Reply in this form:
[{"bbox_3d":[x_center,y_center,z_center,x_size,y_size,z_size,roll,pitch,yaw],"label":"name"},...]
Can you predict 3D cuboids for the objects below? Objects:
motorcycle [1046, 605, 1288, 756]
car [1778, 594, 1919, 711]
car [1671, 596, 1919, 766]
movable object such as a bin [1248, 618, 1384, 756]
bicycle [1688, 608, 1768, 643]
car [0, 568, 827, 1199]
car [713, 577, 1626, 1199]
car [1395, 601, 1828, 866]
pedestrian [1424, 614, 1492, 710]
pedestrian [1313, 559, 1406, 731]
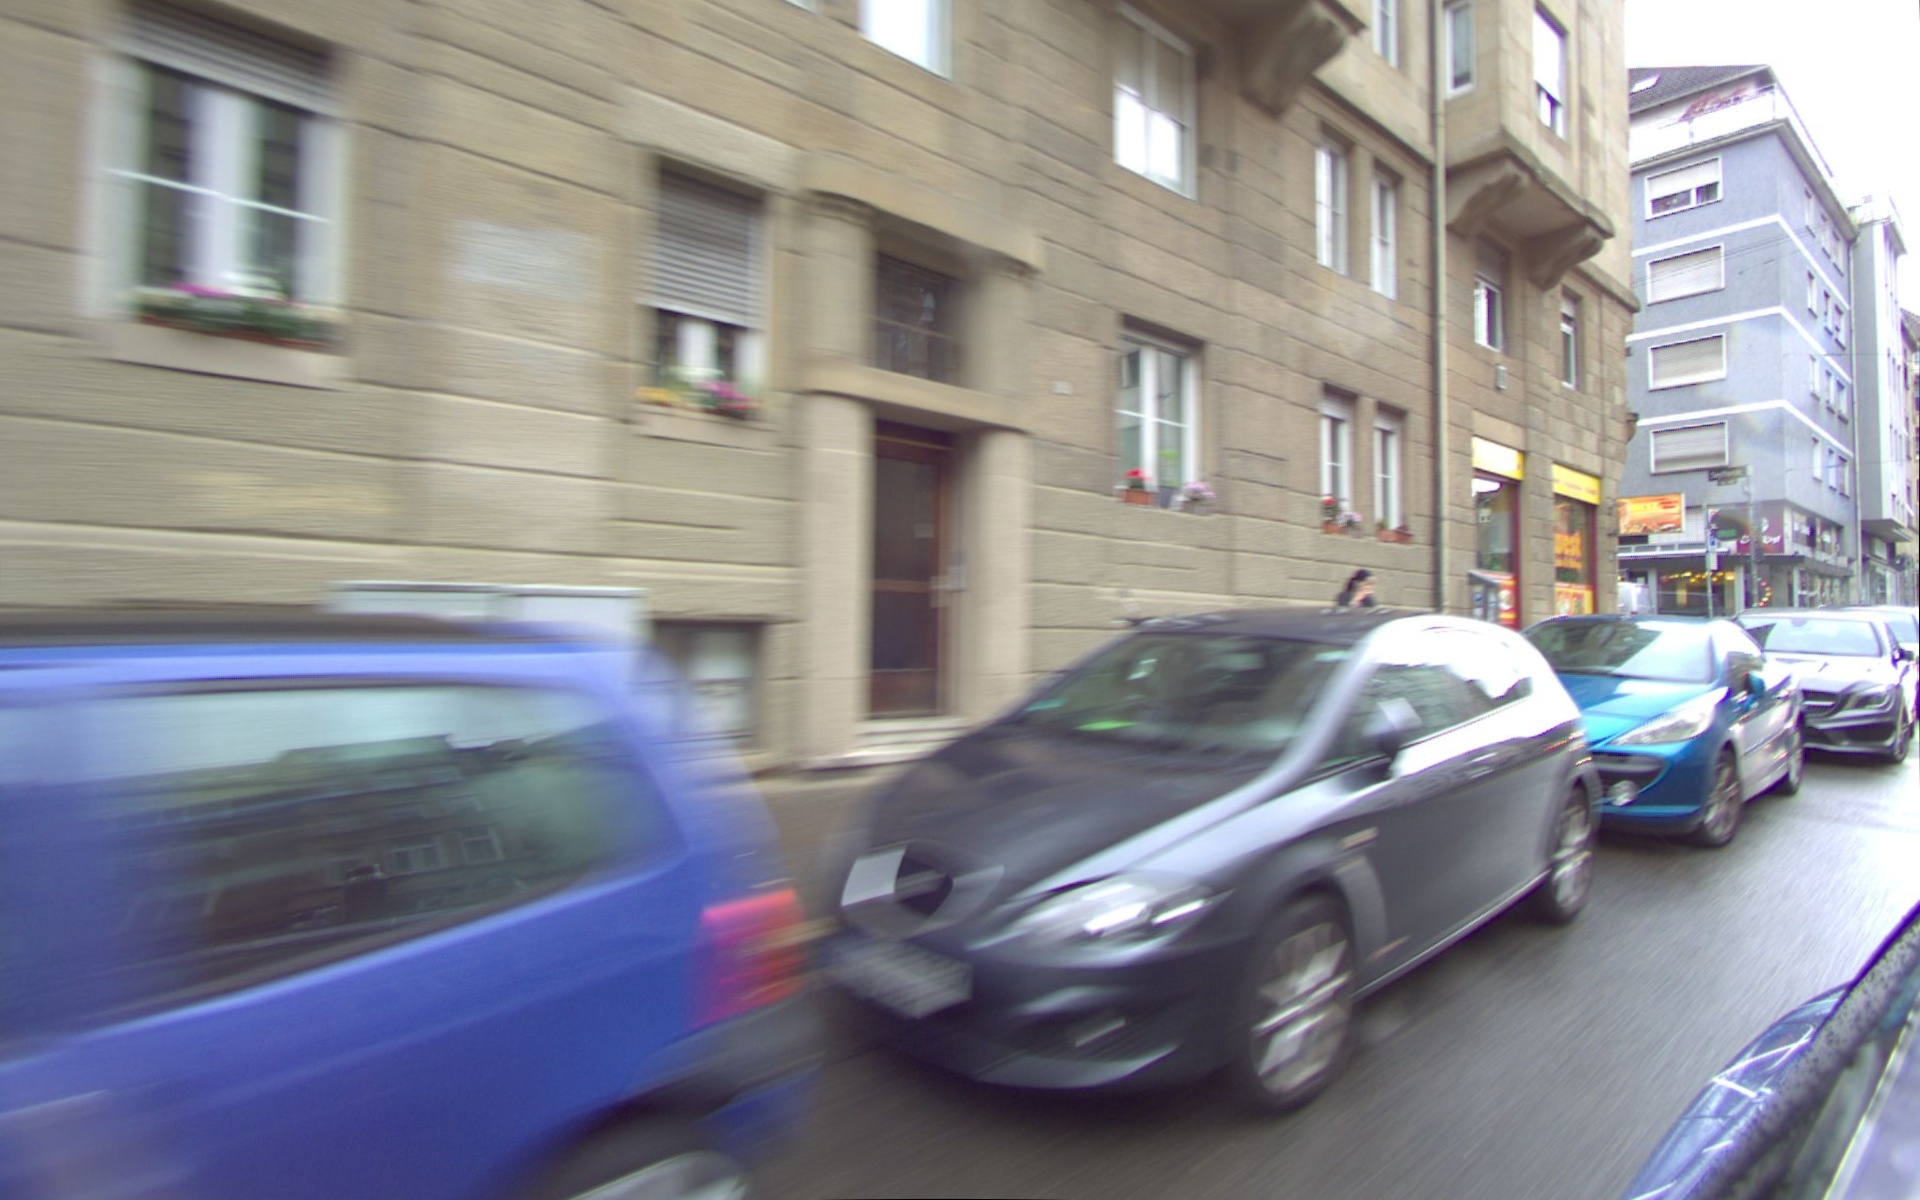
[{"bbox_3d":[1.987,0.657,9.357,2.697,1.214,0.706,0,-1,-41],"label":"motorcycle"},{"bbox_3d":[13.242,0.675,14.520,3.723,1.462,1.674,0,1,-40],"label":"car"},{"bbox_3d":[9.166,0.699,10.826,4.411,1.404,1.756,0,1,-44],"label":"car"},{"bbox_3d":[3.145,0.726,8.927,1.104,1.117,0.666,0,-1,-41],"label":"movable object such as a bin"},{"bbox_3d":[22.113,0.721,29.172,0.524,0.985,1.752,1,-1,-39],"label":"bicycle"},{"bbox_3d":[-2.029,0.676,1.444,3.387,1.433,1.546,0,0,-42],"label":"car"},{"bbox_3d":[1.197,0.691,4.294,4.013,1.481,1.790,0,0,-42],"label":"car"},{"bbox_3d":[4.914,0.718,7.405,3.949,1.416,1.709,0,0,-42],"label":"car"},{"bbox_3d":[5.808,0.706,11.809,0.616,1.063,0.511,1,-1,-41],"label":"pedestrian"},{"bbox_3d":[3.797,0.406,9.620,0.697,1.555,0.562,1,-1,-41],"label":"pedestrian"}]
